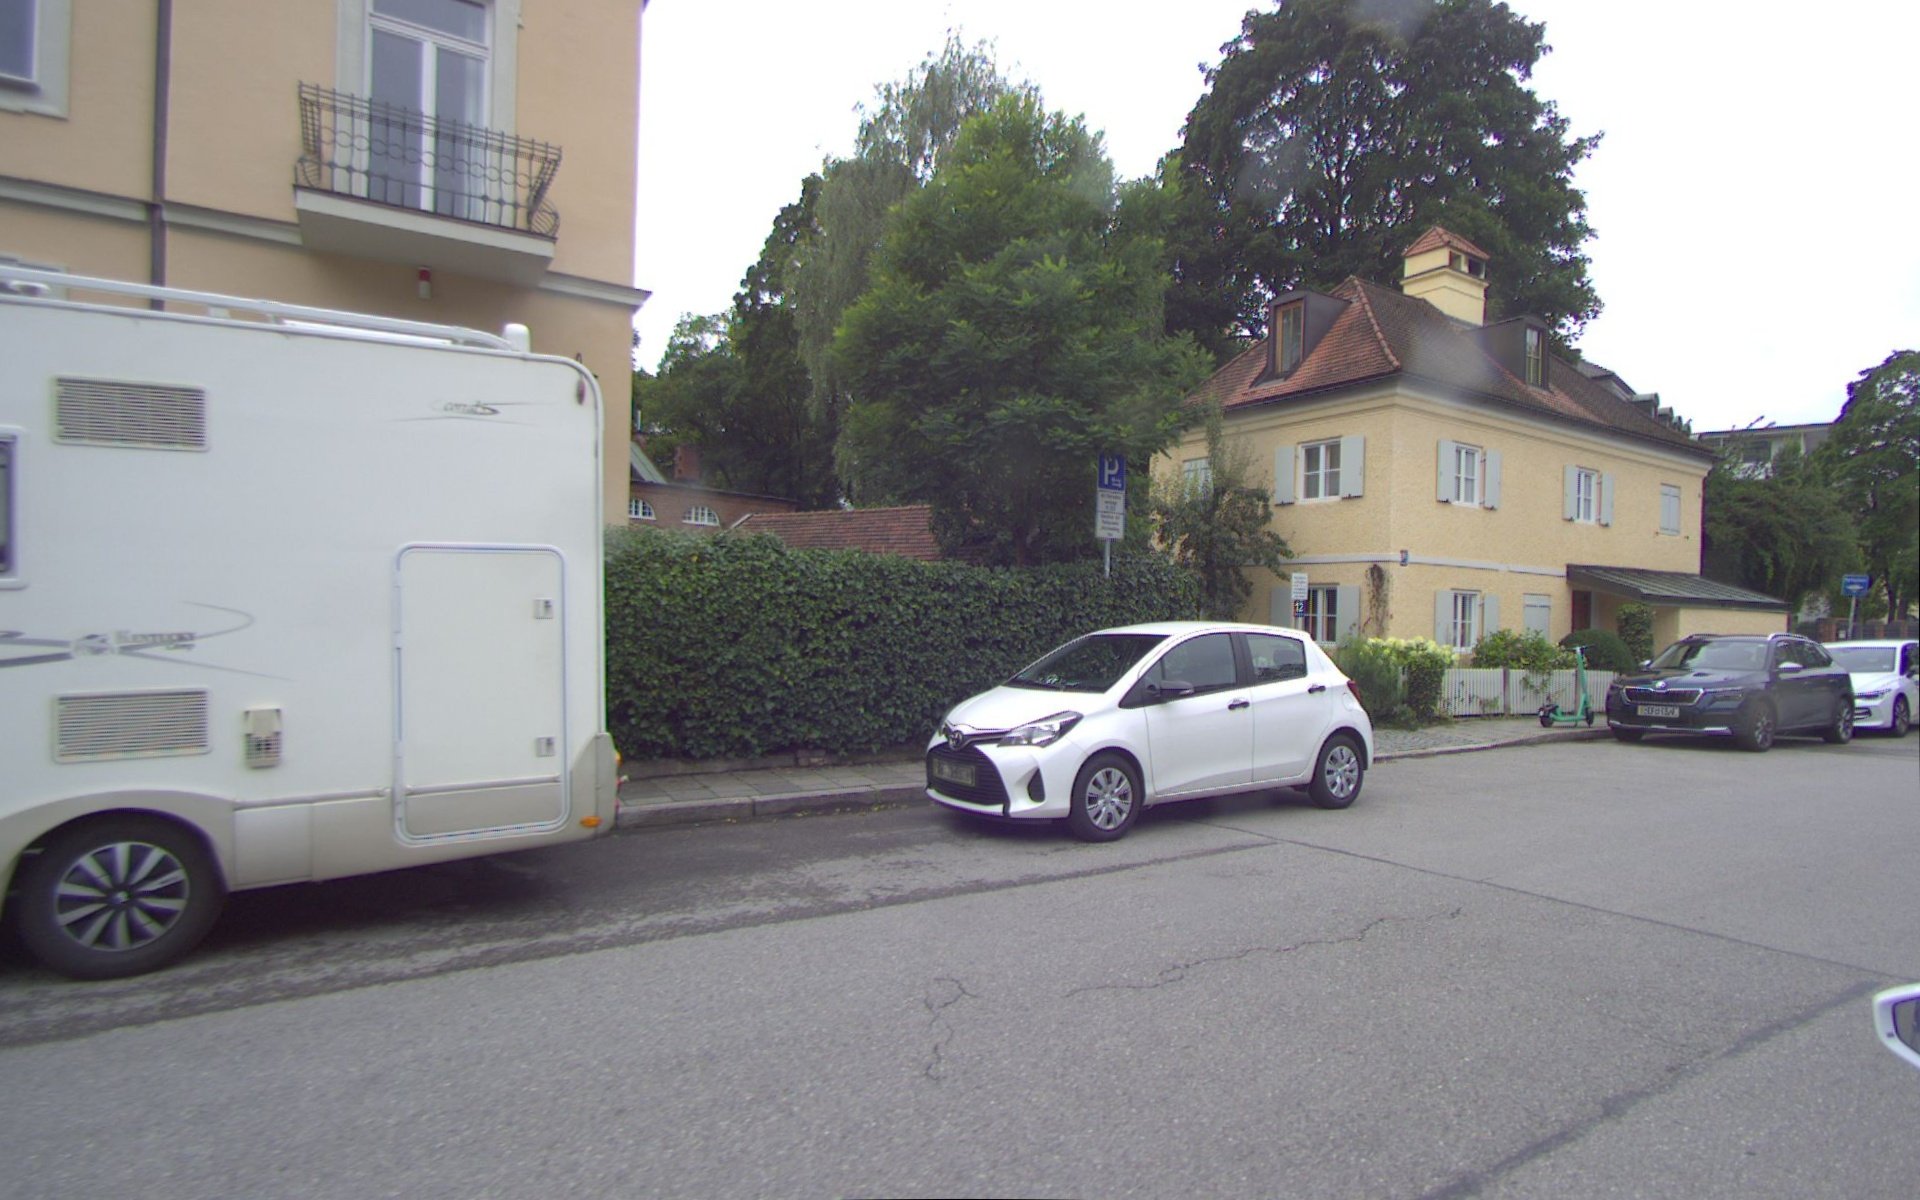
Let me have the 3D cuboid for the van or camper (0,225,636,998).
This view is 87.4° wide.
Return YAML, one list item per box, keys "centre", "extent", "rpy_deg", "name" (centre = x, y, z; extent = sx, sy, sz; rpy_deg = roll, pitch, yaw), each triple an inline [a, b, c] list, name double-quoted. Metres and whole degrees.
- centre: [-5.324, 0.046, 4.344]
  extent: [7.126, 2.979, 2.444]
  rpy_deg: [1, -2, -30]
  name: "van or camper"

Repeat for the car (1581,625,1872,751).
- centre: [10.976, 1.193, 14.319]
  extent: [4.391, 1.555, 1.836]
  rpy_deg: [2, -3, -31]
  name: "car"

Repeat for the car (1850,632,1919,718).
- centre: [19.166, 1.405, 19.379]
  extent: [4.512, 1.555, 1.835]
  rpy_deg: [2, -3, -33]
  name: "car"

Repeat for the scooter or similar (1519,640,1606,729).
- centre: [8.660, 1.192, 14.428]
  extent: [1.355, 1.204, 0.450]
  rpy_deg: [1, 1, -31]
  name: "scooter or similar"

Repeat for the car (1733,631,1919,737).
- centre: [15.034, 1.324, 16.816]
  extent: [4.470, 1.555, 1.836]
  rpy_deg: [1, -3, -31]
  name: "car"

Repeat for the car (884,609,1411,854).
- centre: [1.625, 0.919, 8.275]
  extent: [4.180, 1.555, 1.769]
  rpy_deg: [1, -3, -32]
  name: "car"
